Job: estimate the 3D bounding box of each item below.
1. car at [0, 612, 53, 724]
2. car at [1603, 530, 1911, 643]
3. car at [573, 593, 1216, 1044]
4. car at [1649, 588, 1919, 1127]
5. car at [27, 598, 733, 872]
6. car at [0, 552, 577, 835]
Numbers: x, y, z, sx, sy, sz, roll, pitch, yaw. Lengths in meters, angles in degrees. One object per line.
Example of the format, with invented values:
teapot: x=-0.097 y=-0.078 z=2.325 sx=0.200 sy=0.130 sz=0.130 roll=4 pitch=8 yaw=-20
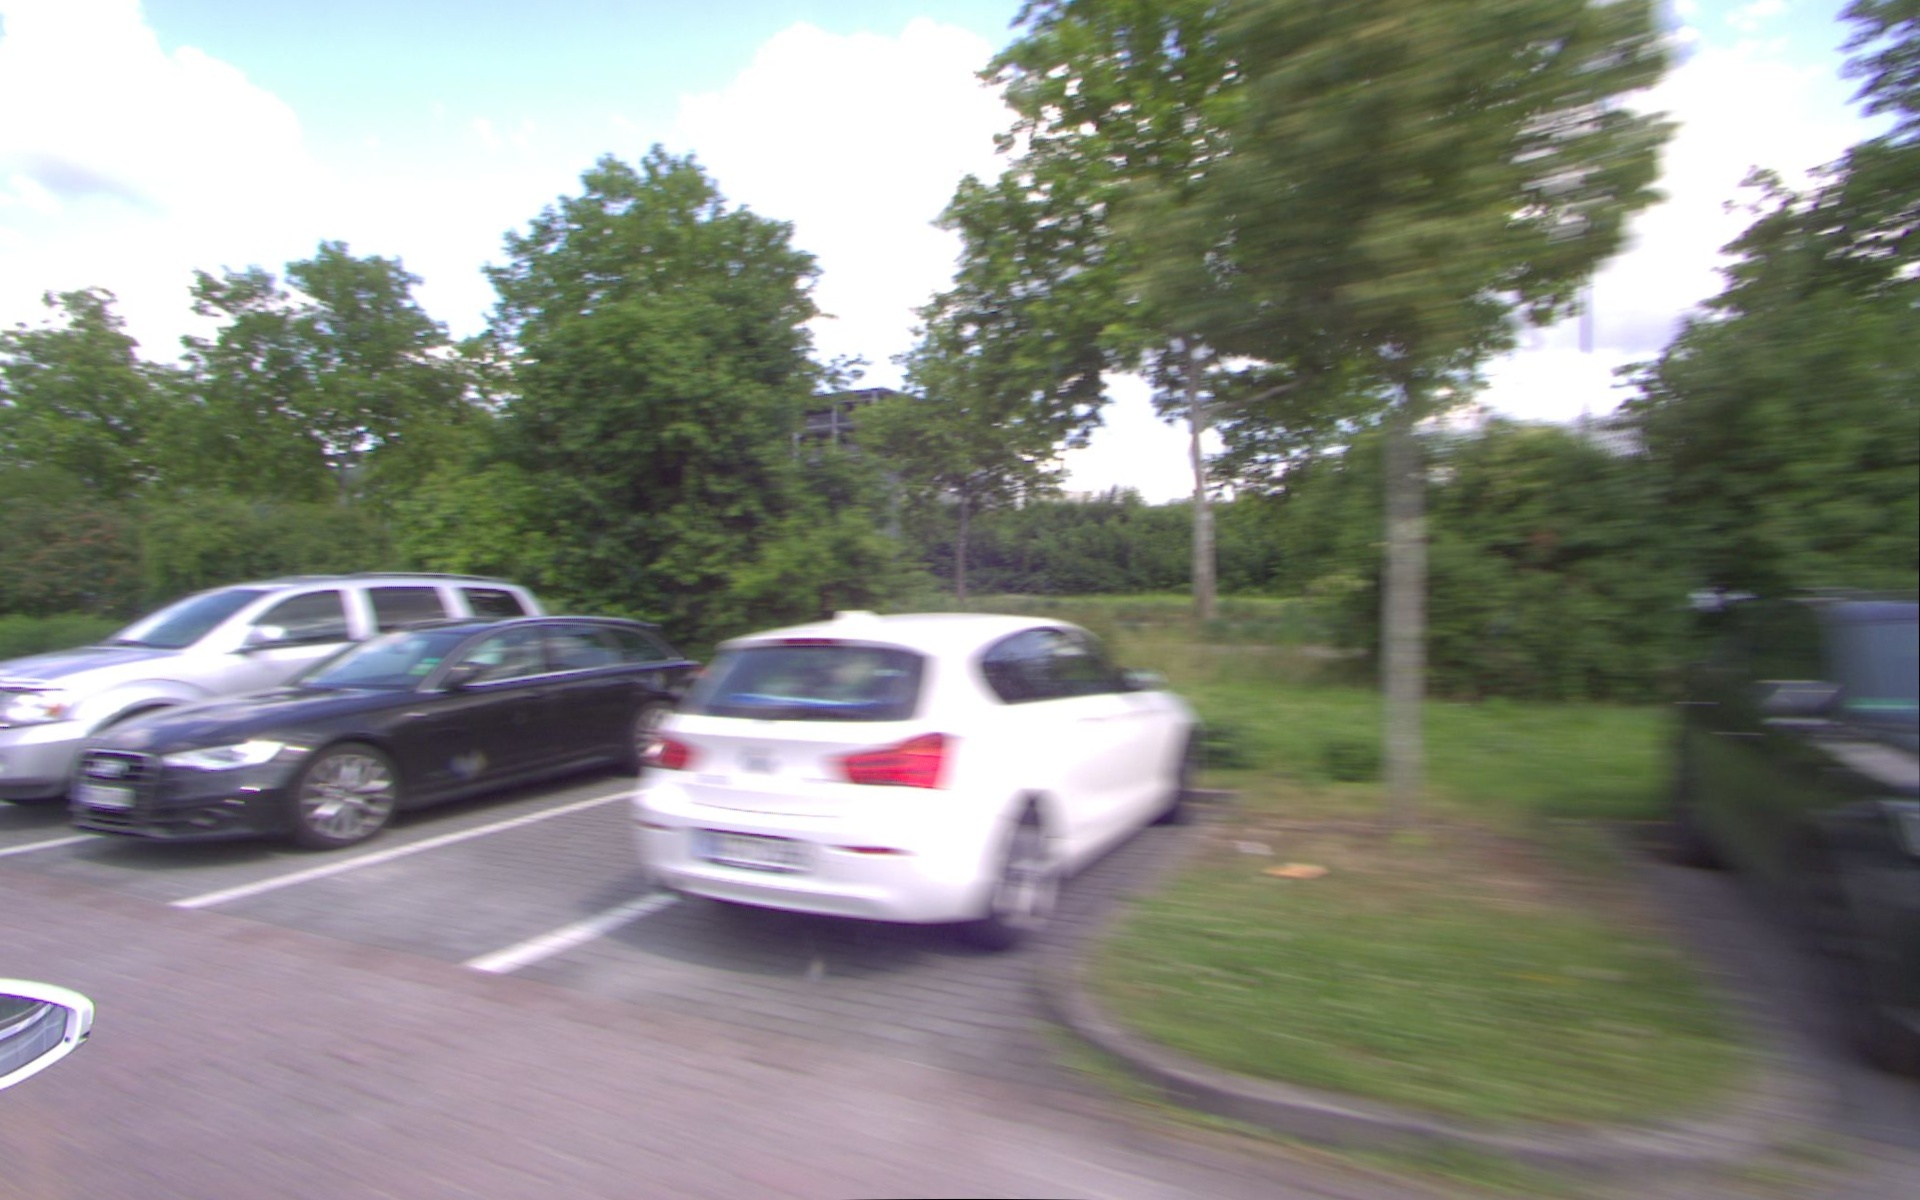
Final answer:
car: x=-14.680 y=0.963 z=12.506 sx=1.756 sy=1.524 sz=4.637 roll=0 pitch=1 yaw=25
car: x=15.692 y=-0.177 z=20.065 sx=4.421 sy=2.039 sz=1.913 roll=-1 pitch=-2 yaw=24
car: x=0.077 y=0.758 z=5.618 sx=1.665 sy=1.529 sz=4.063 roll=-1 pitch=0 yaw=29
car: x=4.116 y=0.672 z=3.917 sx=1.706 sy=1.429 sz=4.227 roll=0 pitch=1 yaw=26
car: x=-4.039 y=0.748 z=8.043 sx=1.810 sy=1.470 sz=4.708 roll=0 pitch=1 yaw=25
car: x=-6.218 y=0.599 z=9.190 sx=1.958 sy=1.867 sz=5.130 roll=0 pitch=1 yaw=25
